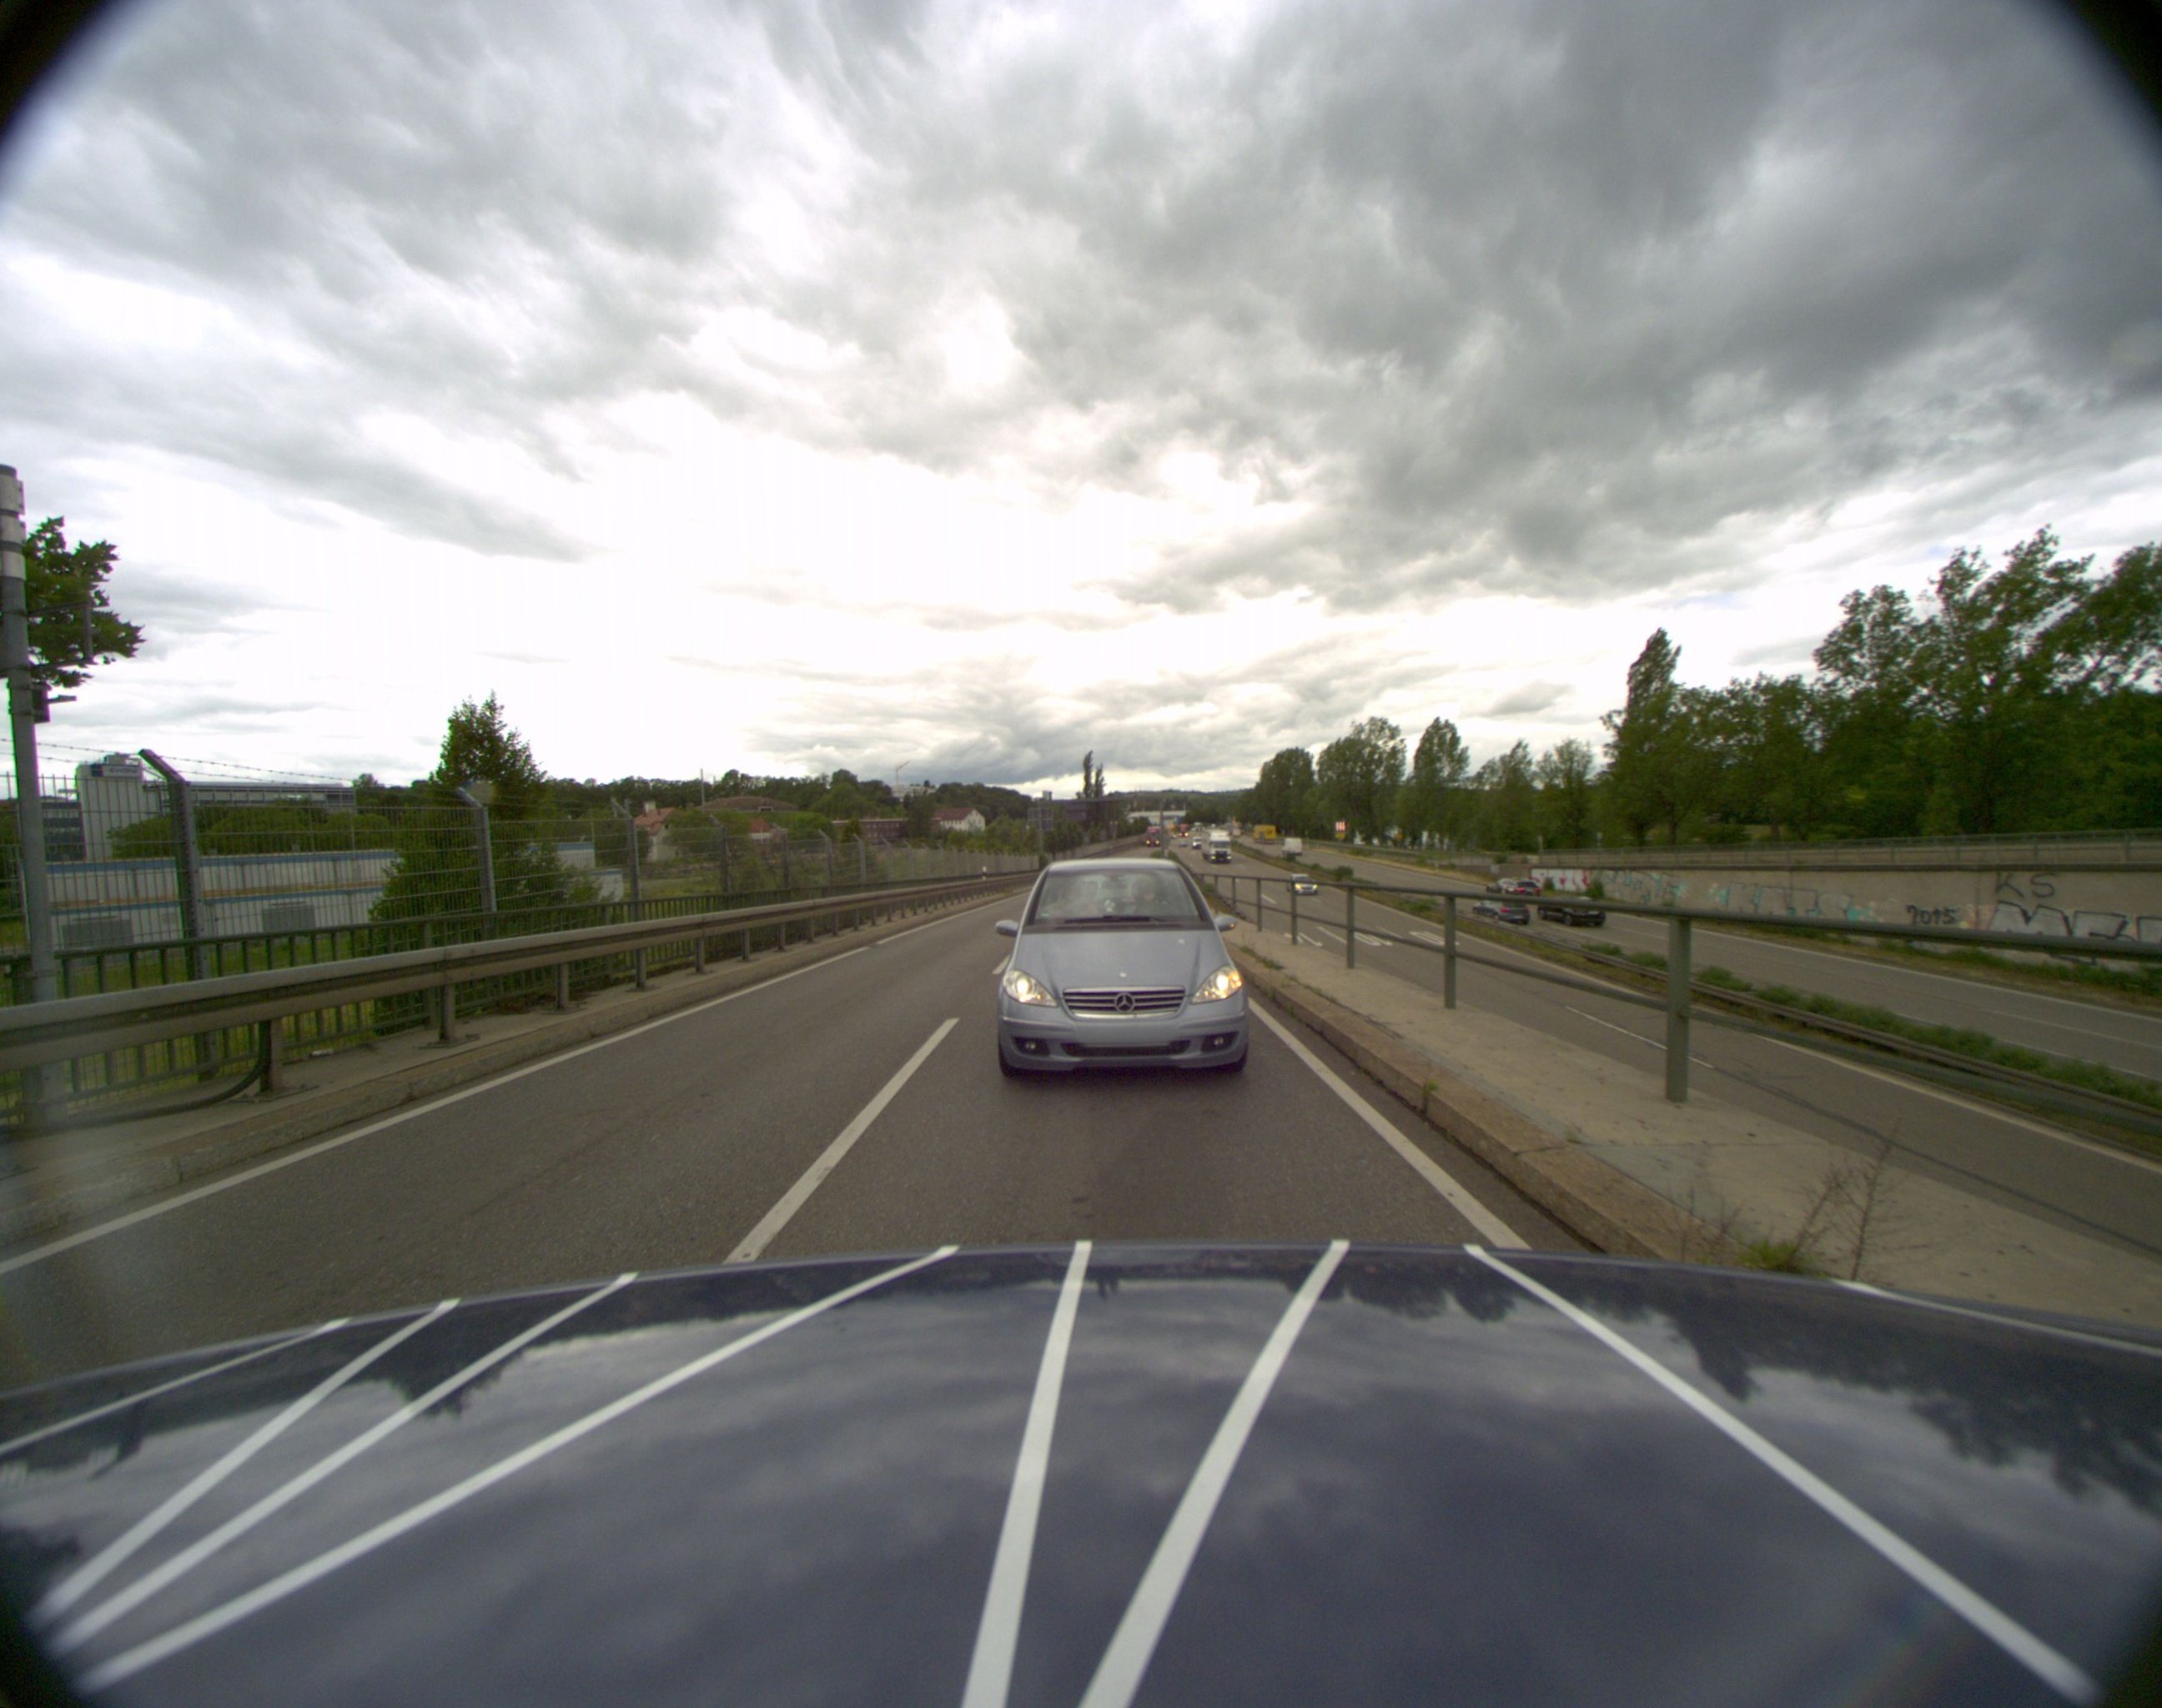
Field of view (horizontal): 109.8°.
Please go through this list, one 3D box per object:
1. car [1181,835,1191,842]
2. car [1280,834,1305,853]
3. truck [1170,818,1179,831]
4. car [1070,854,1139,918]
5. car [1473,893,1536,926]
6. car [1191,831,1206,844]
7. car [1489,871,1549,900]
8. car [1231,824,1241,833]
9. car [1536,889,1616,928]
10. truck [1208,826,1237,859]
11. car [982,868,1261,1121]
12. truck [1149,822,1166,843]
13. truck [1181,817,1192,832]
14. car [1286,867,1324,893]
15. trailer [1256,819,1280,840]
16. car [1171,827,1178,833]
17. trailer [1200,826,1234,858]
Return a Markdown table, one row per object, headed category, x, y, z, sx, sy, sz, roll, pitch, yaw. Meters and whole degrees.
| category | x | y | z | sx | sy | sz | roll | pitch | yaw |
| --- | --- | --- | --- | --- | --- | --- | --- | --- | --- |
| car | 21.256 | -3.089 | 153.904 | 1.512 | 1.365 | 3.536 | 0 | 3 | 3 |
| car | 32.244 | -1.673 | 115.912 | 2.172 | 2.580 | 6.099 | -1 | 3 | 1 |
| truck | 30.702 | -9.880 | 250.757 | 2.415 | 4.100 | 8.169 | 0 | 3 | 4 |
| car | 0.684 | 0.916 | 23.076 | 1.830 | 1.701 | 4.001 | -2 | -1 | 1 |
| car | 24.321 | 3.152 | 43.822 | 1.718 | 1.446 | 3.649 | -1 | 3 | 3 |
| car | 22.074 | -3.097 | 142.624 | 2.104 | 2.231 | 6.498 | 0 | 3 | 3 |
| car | 31.728 | 2.266 | 55.227 | 1.864 | 1.643 | 4.632 | 0 | 3 | 3 |
| car | 48.421 | -7.846 | 236.843 | 1.998 | 2.614 | 6.711 | 1 | 3 | 3 |
| car | 27.748 | 3.012 | 42.785 | 1.886 | 1.709 | 4.181 | 0 | 3 | 3 |
| truck | 18.449 | -1.517 | 99.564 | 3.010 | 4.087 | 5.872 | 0 | 3 | 3 |
| car | 0.289 | 0.924 | 6.782 | 1.743 | 1.534 | 3.993 | -1 | 0 | 1 |
| truck | 15.853 | -4.594 | 157.791 | 3.101 | 3.990 | 8.487 | -1 | 4 | 5 |
| truck | 35.163 | -9.914 | 253.973 | 2.754 | 4.712 | 9.916 | 1 | 3 | 4 |
| car | 17.916 | 2.039 | 60.905 | 1.854 | 1.562 | 4.436 | -1 | 4 | 2 |
| trailer | 41.205 | -5.474 | 167.883 | 3.247 | 4.239 | 13.678 | 0 | 3 | 5 |
| car | 27.580 | -6.950 | 223.066 | 1.810 | 1.658 | 3.999 | -1 | 3 | 4 |
| trailer | 18.857 | -1.833 | 106.286 | 3.010 | 4.087 | 13.984 | 0 | 3 | 3 |
